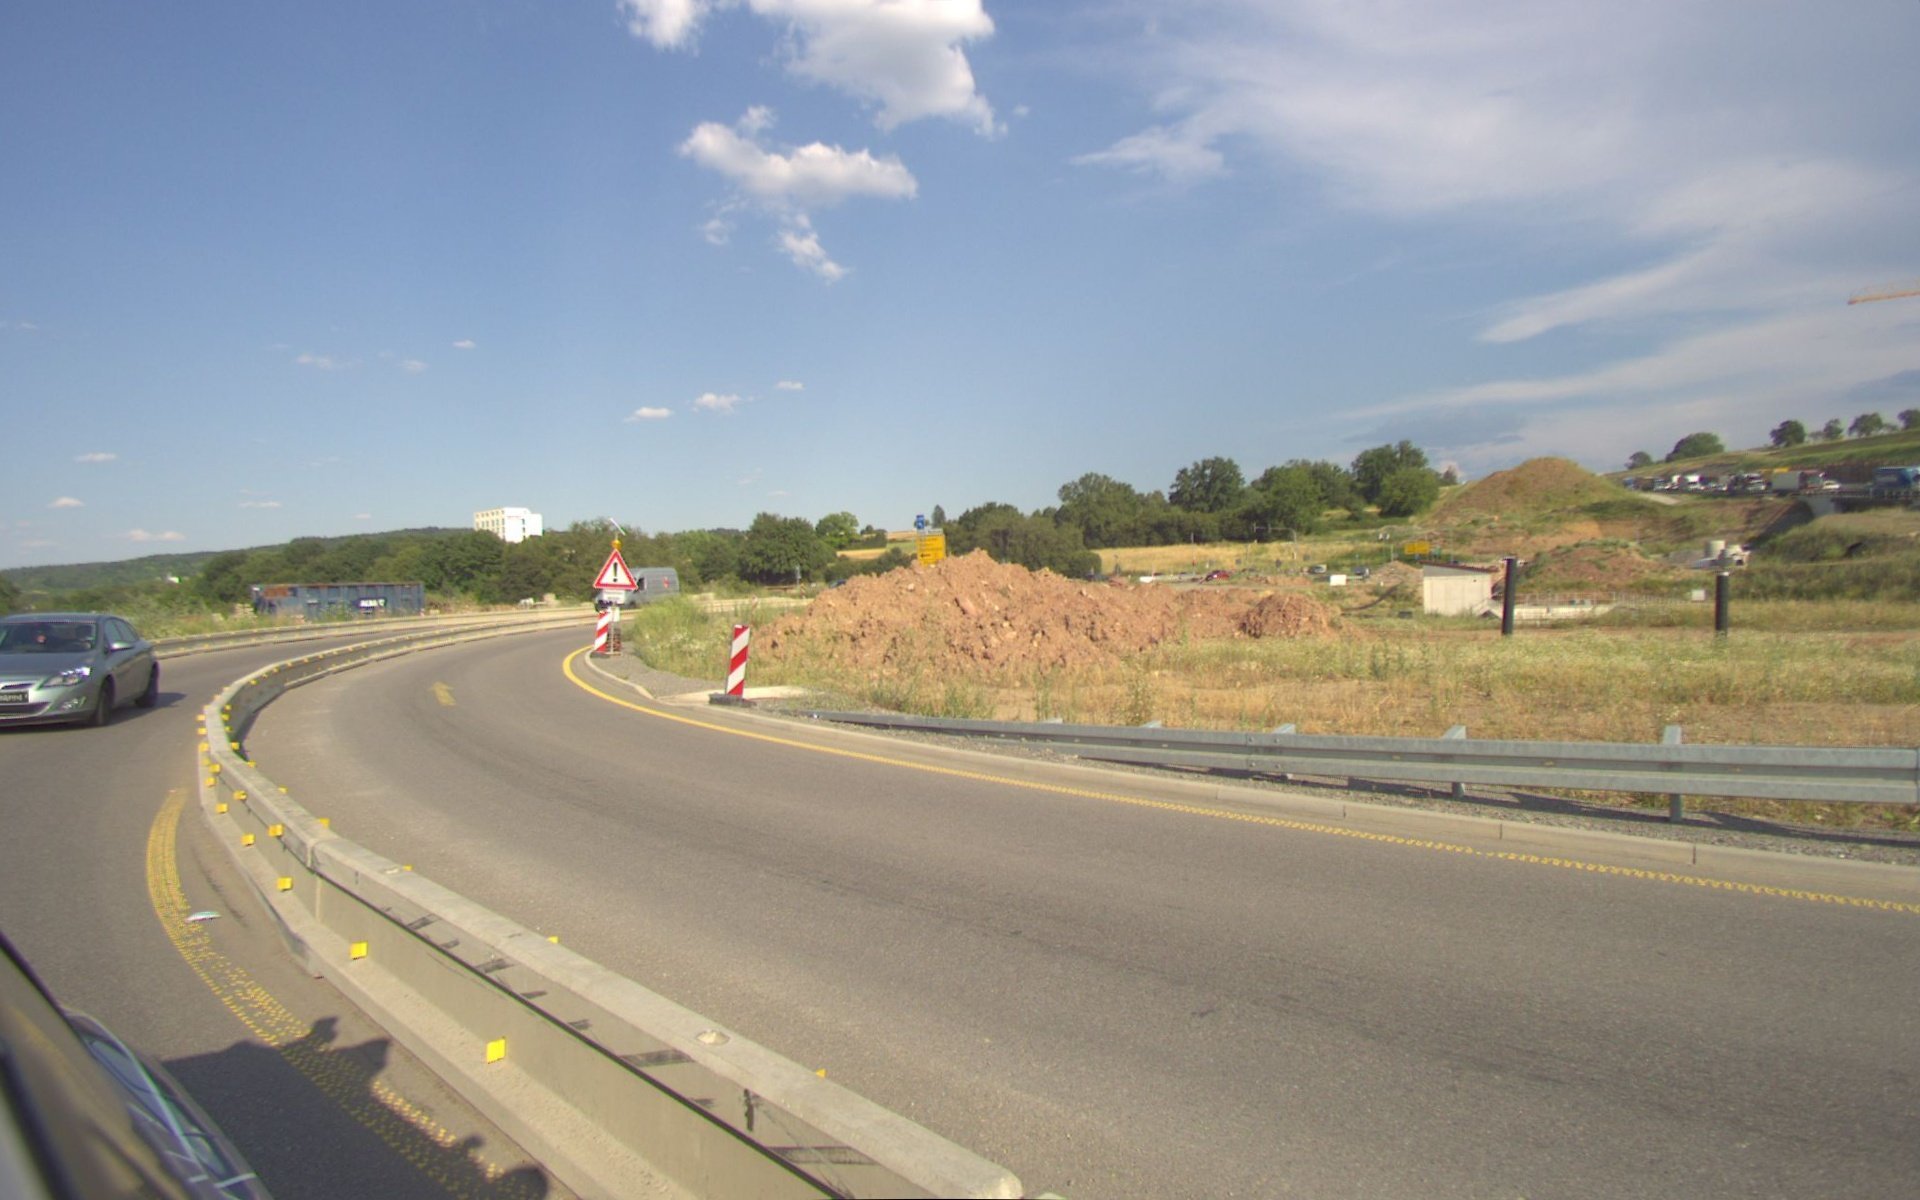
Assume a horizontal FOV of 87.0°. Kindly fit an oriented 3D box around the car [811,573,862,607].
[{"bbox_3d":[-9.202,-0.786,75.663,1.867,2.421,3.965,-1,1,26],"label":"car"}]

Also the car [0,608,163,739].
[{"bbox_3d":[-12.418,0.895,13.776,1.719,1.495,4.265,-2,1,-28],"label":"car"}]

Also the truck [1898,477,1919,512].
[{"bbox_3d":[120.891,-13.325,126.812,2.510,4.031,8.479,-1,1,26],"label":"truck"}]

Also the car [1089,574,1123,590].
[{"bbox_3d":[14.468,-1.816,100.275,1.710,1.530,4.468,1,2,31],"label":"car"}]

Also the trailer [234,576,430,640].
[{"bbox_3d":[-27.393,0.251,44.642,2.986,2.432,7.193,-2,1,15],"label":"trailer"}]

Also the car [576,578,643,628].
[{"bbox_3d":[-18.890,0.103,54.770,1.889,2.519,5.803,-2,1,-4],"label":"car"}]
